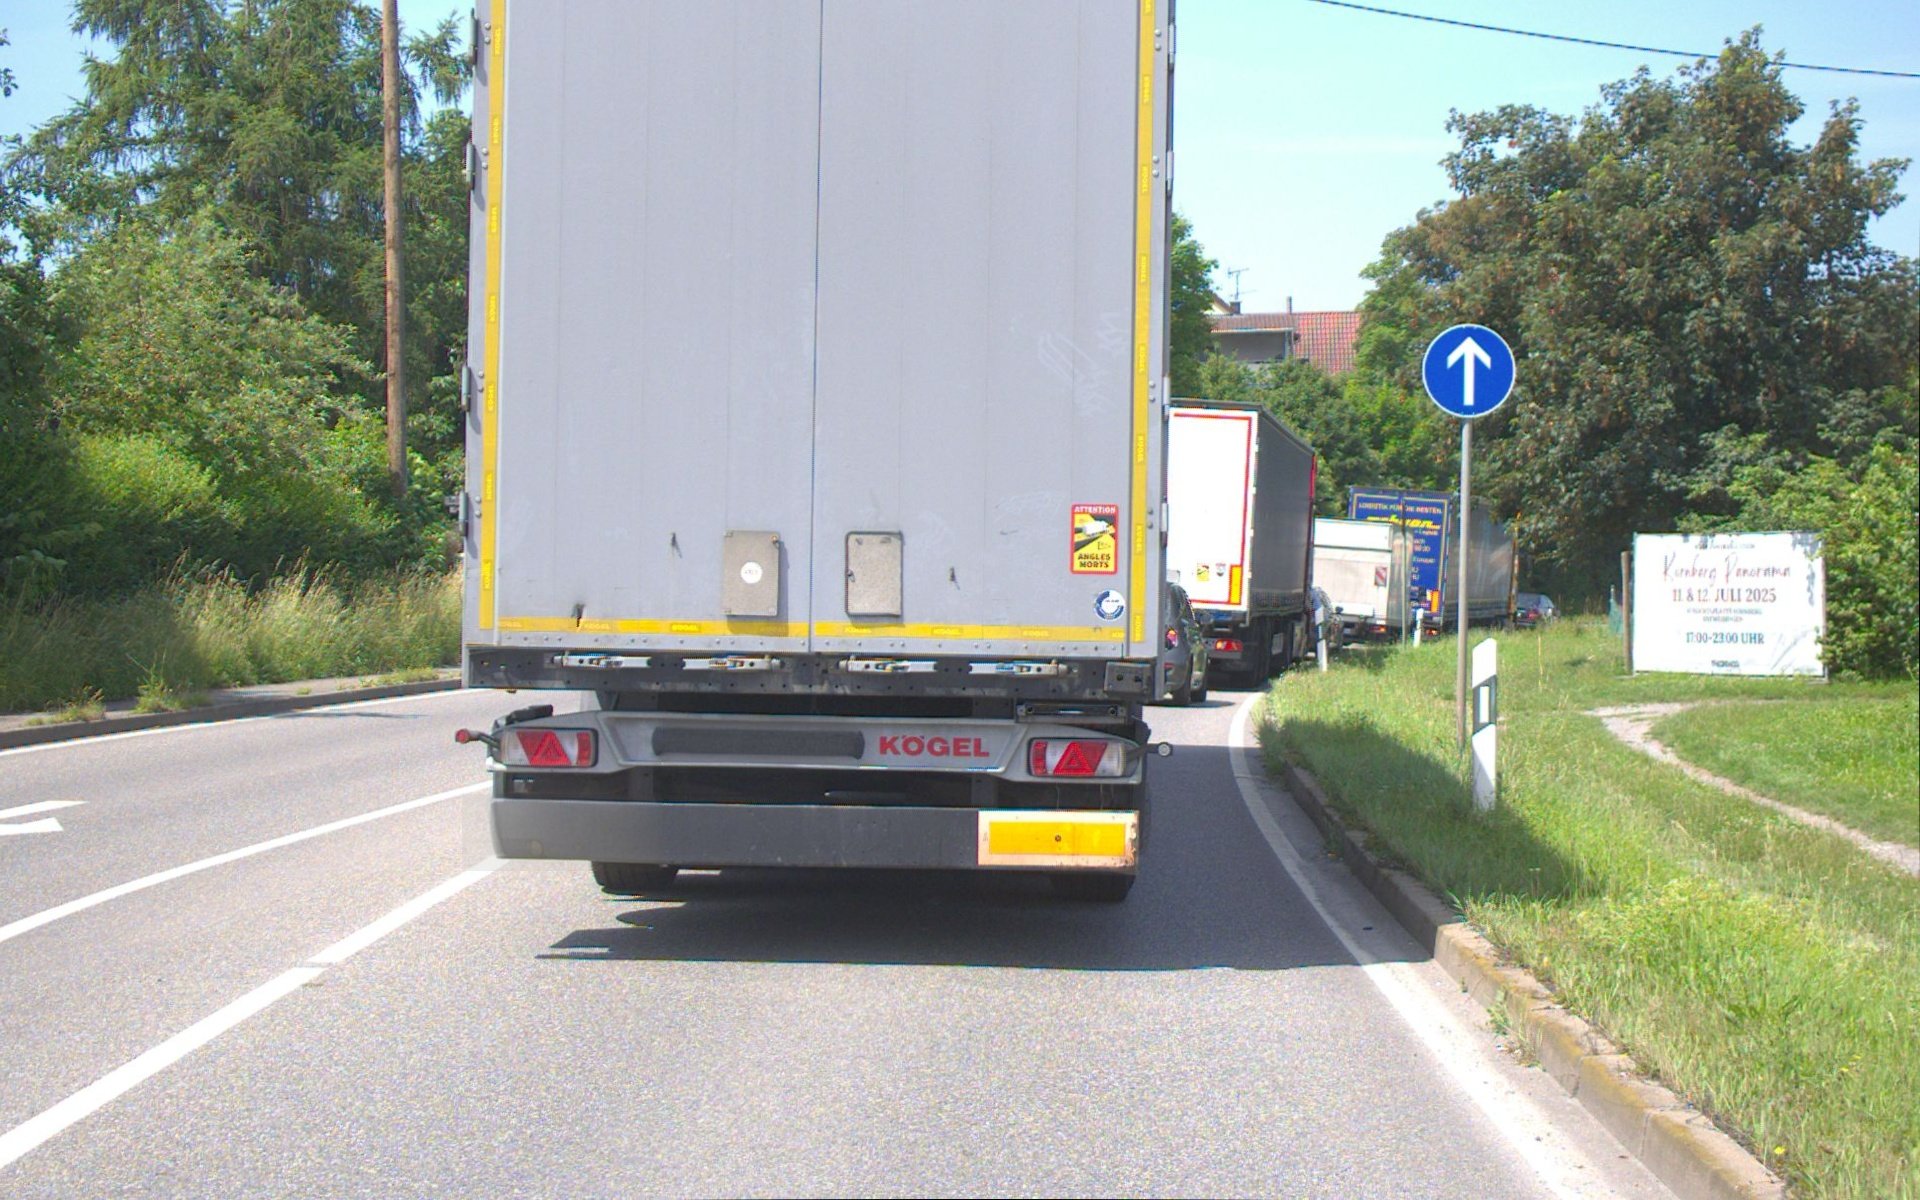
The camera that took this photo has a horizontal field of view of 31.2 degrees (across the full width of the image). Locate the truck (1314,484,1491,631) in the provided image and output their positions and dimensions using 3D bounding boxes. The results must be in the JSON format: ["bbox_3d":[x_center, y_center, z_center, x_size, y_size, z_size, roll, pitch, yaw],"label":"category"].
[{"bbox_3d":[11.628,-1.155,89.524,3.435,3.592,9.348,1,1,14],"label":"truck"}]

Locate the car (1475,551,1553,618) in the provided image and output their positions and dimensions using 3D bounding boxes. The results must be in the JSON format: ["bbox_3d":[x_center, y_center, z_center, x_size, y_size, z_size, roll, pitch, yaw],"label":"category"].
[{"bbox_3d":[17.347,-0.474,107.525,1.995,2.007,3.997,1,0,15],"label":"car"}]

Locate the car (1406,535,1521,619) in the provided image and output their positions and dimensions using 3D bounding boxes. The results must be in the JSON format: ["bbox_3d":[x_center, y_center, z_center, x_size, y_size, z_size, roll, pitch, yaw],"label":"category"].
[{"bbox_3d":[14.472,-0.686,98.503,2.533,2.269,6.377,1,1,15],"label":"car"}]

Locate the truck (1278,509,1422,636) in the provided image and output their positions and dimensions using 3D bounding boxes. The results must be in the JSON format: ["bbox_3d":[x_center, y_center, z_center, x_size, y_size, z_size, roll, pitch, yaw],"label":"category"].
[{"bbox_3d":[9.084,-0.623,79.573,2.545,2.793,6.028,1,0,13],"label":"truck"}]

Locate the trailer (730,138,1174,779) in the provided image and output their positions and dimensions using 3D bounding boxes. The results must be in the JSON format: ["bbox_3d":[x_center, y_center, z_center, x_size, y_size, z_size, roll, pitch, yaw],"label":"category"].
[{"bbox_3d":[0.106,-0.973,25.334,2.825,4.097,6.544,0,1,3],"label":"trailer"}]

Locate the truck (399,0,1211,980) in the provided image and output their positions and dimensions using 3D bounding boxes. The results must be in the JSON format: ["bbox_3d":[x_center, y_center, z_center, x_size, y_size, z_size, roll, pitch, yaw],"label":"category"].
[{"bbox_3d":[-0.272,-0.856,17.812,2.822,4.113,11.443,1,1,3],"label":"truck"}]

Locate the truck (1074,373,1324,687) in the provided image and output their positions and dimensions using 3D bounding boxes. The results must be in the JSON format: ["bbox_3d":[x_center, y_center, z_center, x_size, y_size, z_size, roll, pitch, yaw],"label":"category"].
[{"bbox_3d":[4.139,-0.974,55.386,2.761,4.274,16.409,1,0,8],"label":"truck"}]

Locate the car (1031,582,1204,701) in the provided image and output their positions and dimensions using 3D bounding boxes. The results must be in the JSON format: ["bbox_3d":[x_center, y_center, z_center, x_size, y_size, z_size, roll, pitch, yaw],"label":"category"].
[{"bbox_3d":[1.953,0.475,41.679,1.819,1.342,3.846,1,0,7],"label":"car"}]

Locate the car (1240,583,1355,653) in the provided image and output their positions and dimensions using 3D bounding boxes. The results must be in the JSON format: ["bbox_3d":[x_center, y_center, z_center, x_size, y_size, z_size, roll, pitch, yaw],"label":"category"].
[{"bbox_3d":[7.052,0.362,71.546,1.994,1.371,3.998,1,0,11],"label":"car"}]
